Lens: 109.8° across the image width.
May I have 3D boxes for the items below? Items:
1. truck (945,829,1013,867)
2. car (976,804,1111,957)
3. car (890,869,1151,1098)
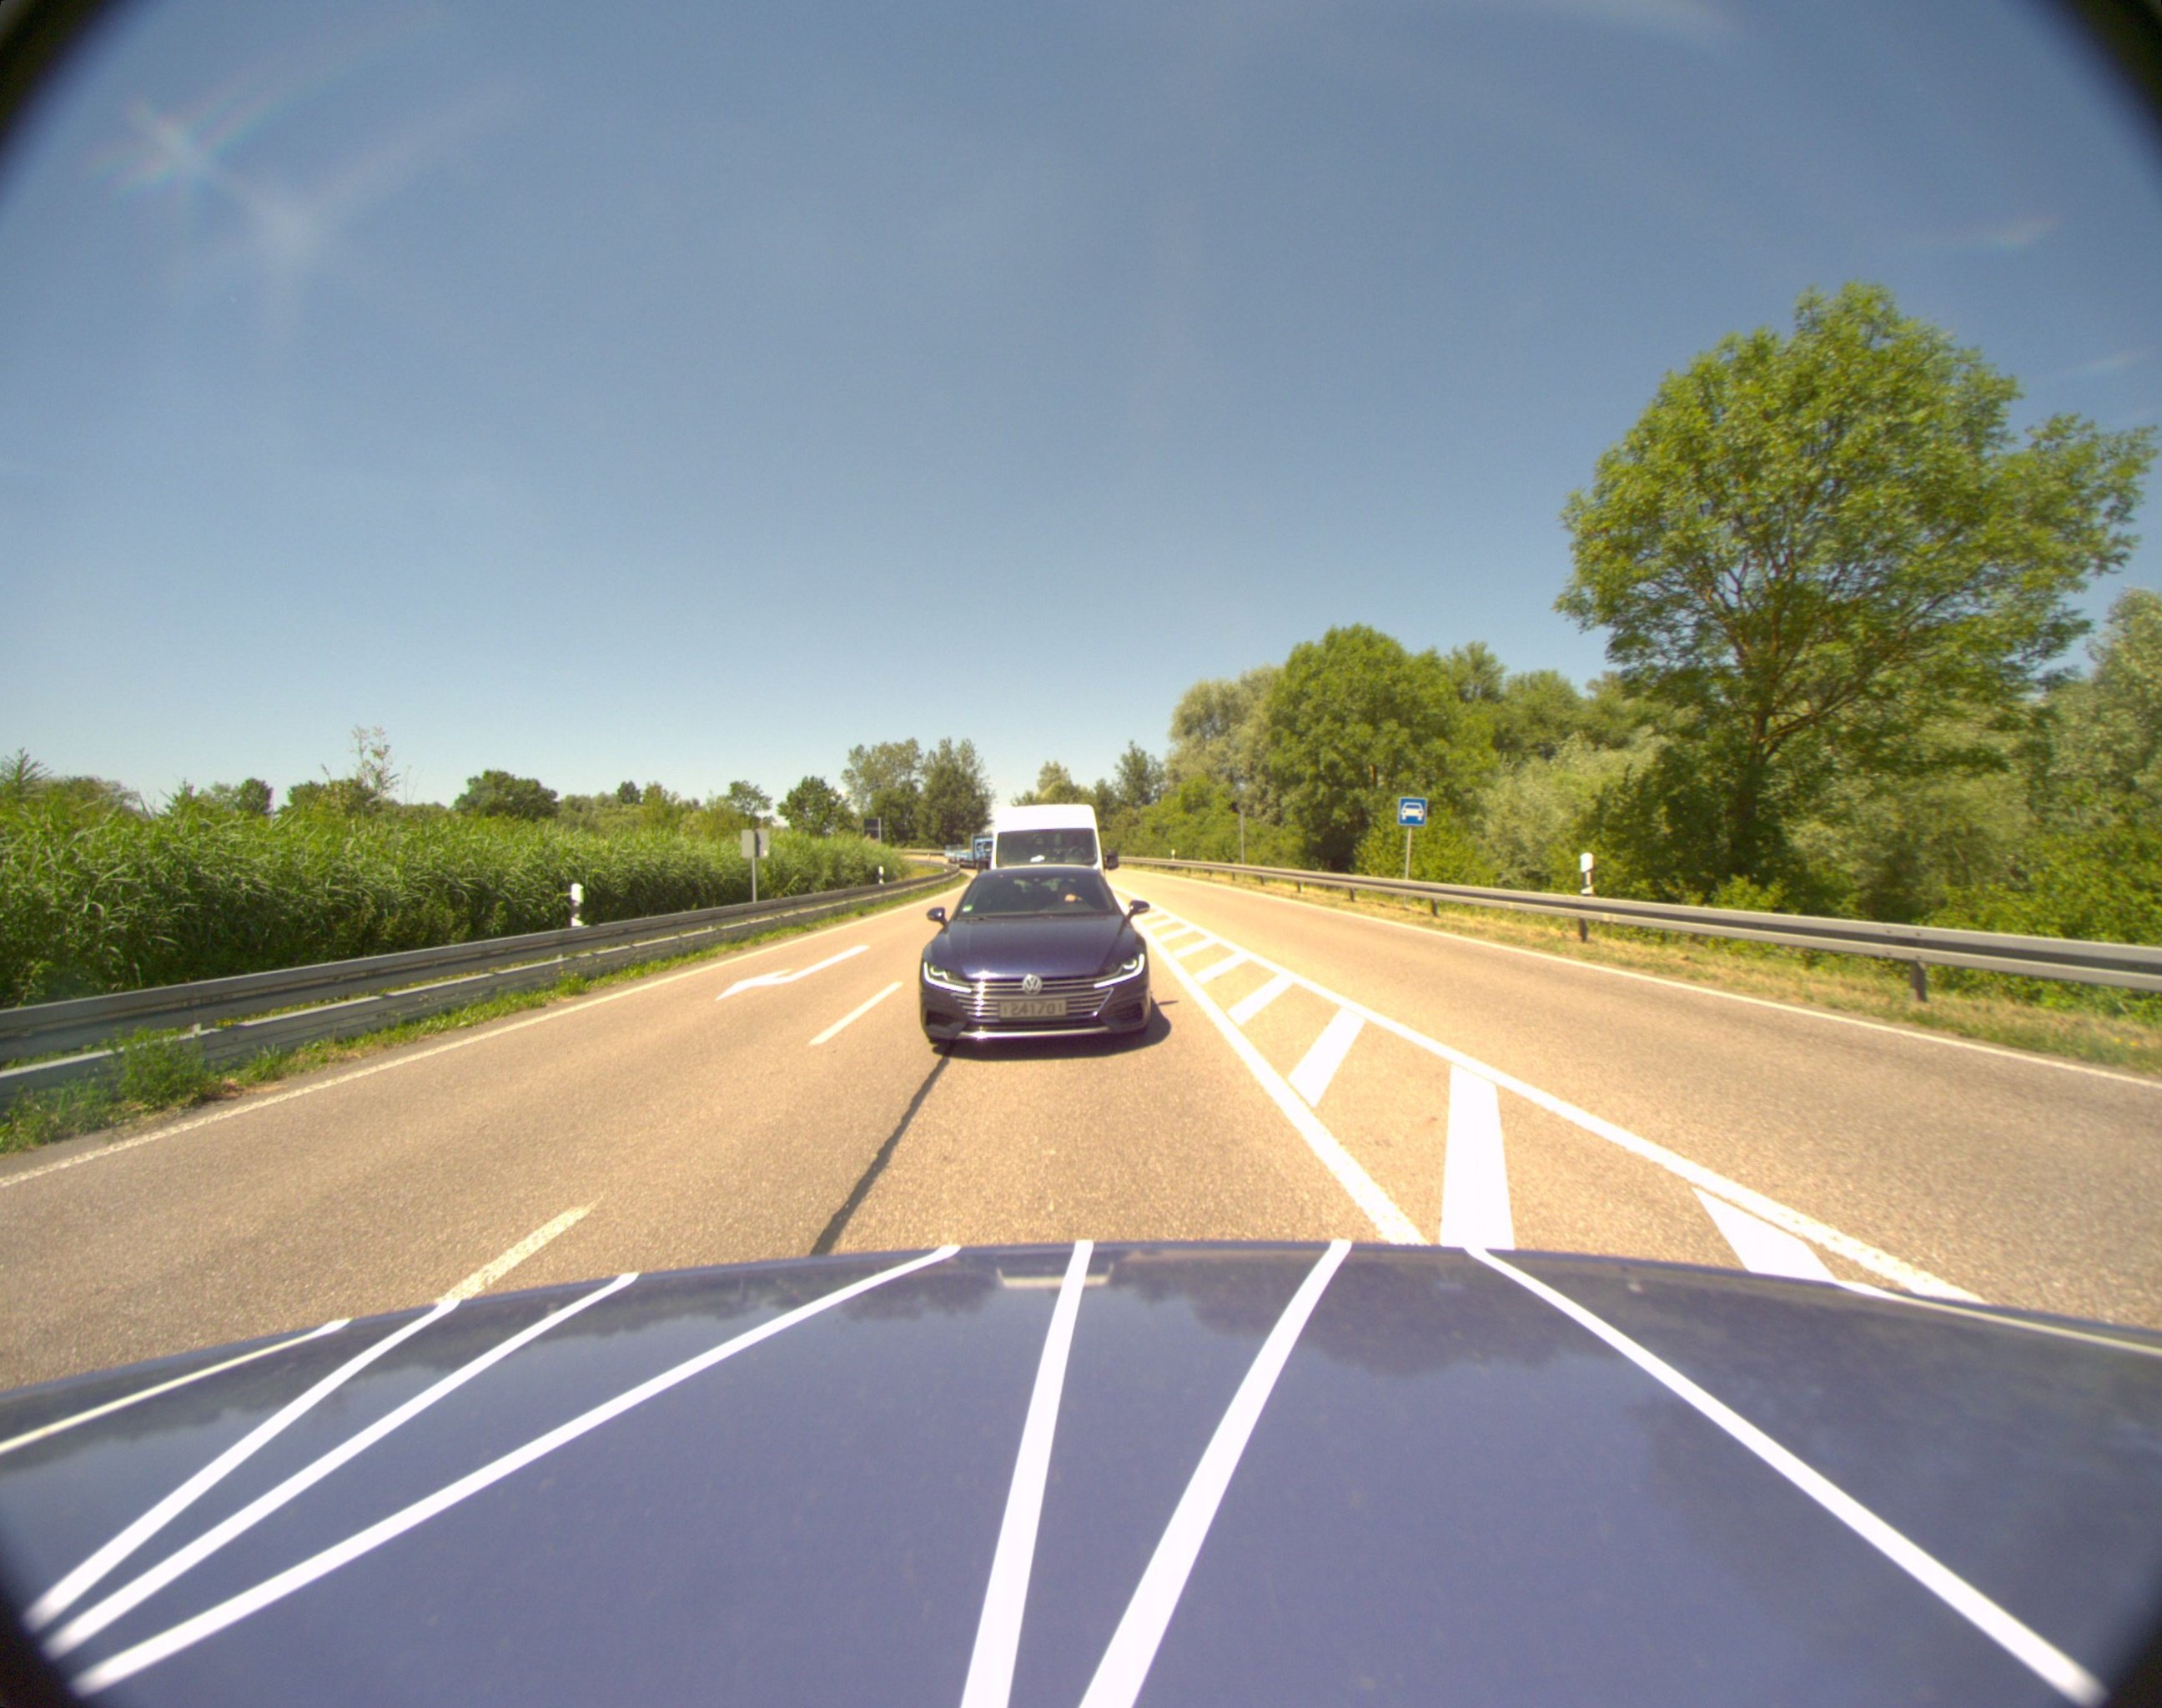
[{"bbox_3d":[-9.011,-0.532,66.132,2.581,3.052,9.058,-2,1,-29],"label":"truck"},{"bbox_3d":[-0.582,0.395,15.020,2.059,2.376,5.826,-2,1,0],"label":"car"},{"bbox_3d":[-0.412,0.941,7.269,1.761,1.401,3.999,-2,1,0],"label":"car"}]
